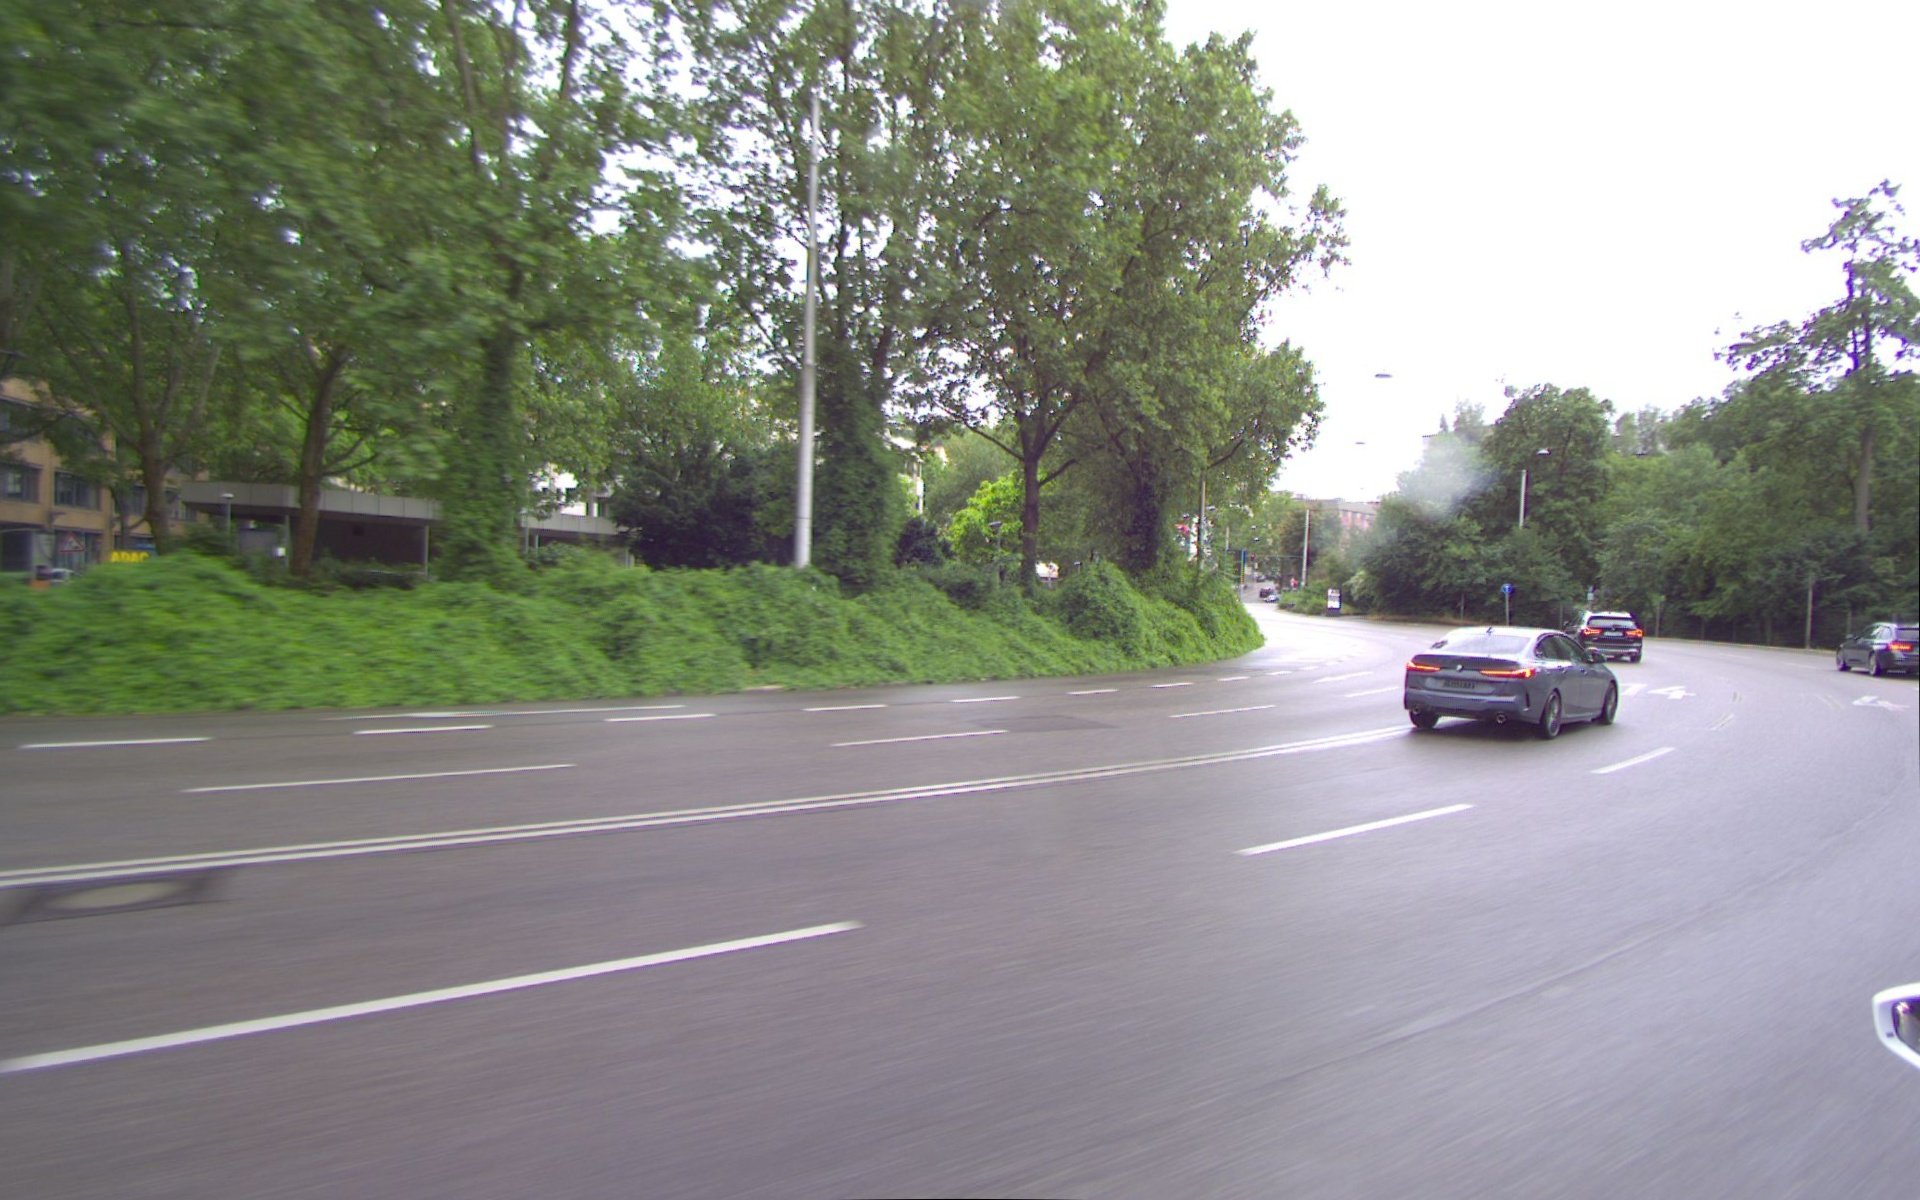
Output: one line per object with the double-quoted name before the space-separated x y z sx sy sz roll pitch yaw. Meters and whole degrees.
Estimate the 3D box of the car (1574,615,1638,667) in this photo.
"car" 22.146 1.350 34.400 1.733 1.607 4.399 0 0 34

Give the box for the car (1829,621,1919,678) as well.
"car" 25.804 1.350 27.802 1.731 1.451 4.406 0 -2 28

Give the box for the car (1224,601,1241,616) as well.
"car" 32.925 1.013 121.368 1.799 1.673 4.002 2 0 14

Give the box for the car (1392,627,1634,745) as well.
"car" 8.078 1.128 14.477 4.505 1.434 1.650 2 -2 -42
